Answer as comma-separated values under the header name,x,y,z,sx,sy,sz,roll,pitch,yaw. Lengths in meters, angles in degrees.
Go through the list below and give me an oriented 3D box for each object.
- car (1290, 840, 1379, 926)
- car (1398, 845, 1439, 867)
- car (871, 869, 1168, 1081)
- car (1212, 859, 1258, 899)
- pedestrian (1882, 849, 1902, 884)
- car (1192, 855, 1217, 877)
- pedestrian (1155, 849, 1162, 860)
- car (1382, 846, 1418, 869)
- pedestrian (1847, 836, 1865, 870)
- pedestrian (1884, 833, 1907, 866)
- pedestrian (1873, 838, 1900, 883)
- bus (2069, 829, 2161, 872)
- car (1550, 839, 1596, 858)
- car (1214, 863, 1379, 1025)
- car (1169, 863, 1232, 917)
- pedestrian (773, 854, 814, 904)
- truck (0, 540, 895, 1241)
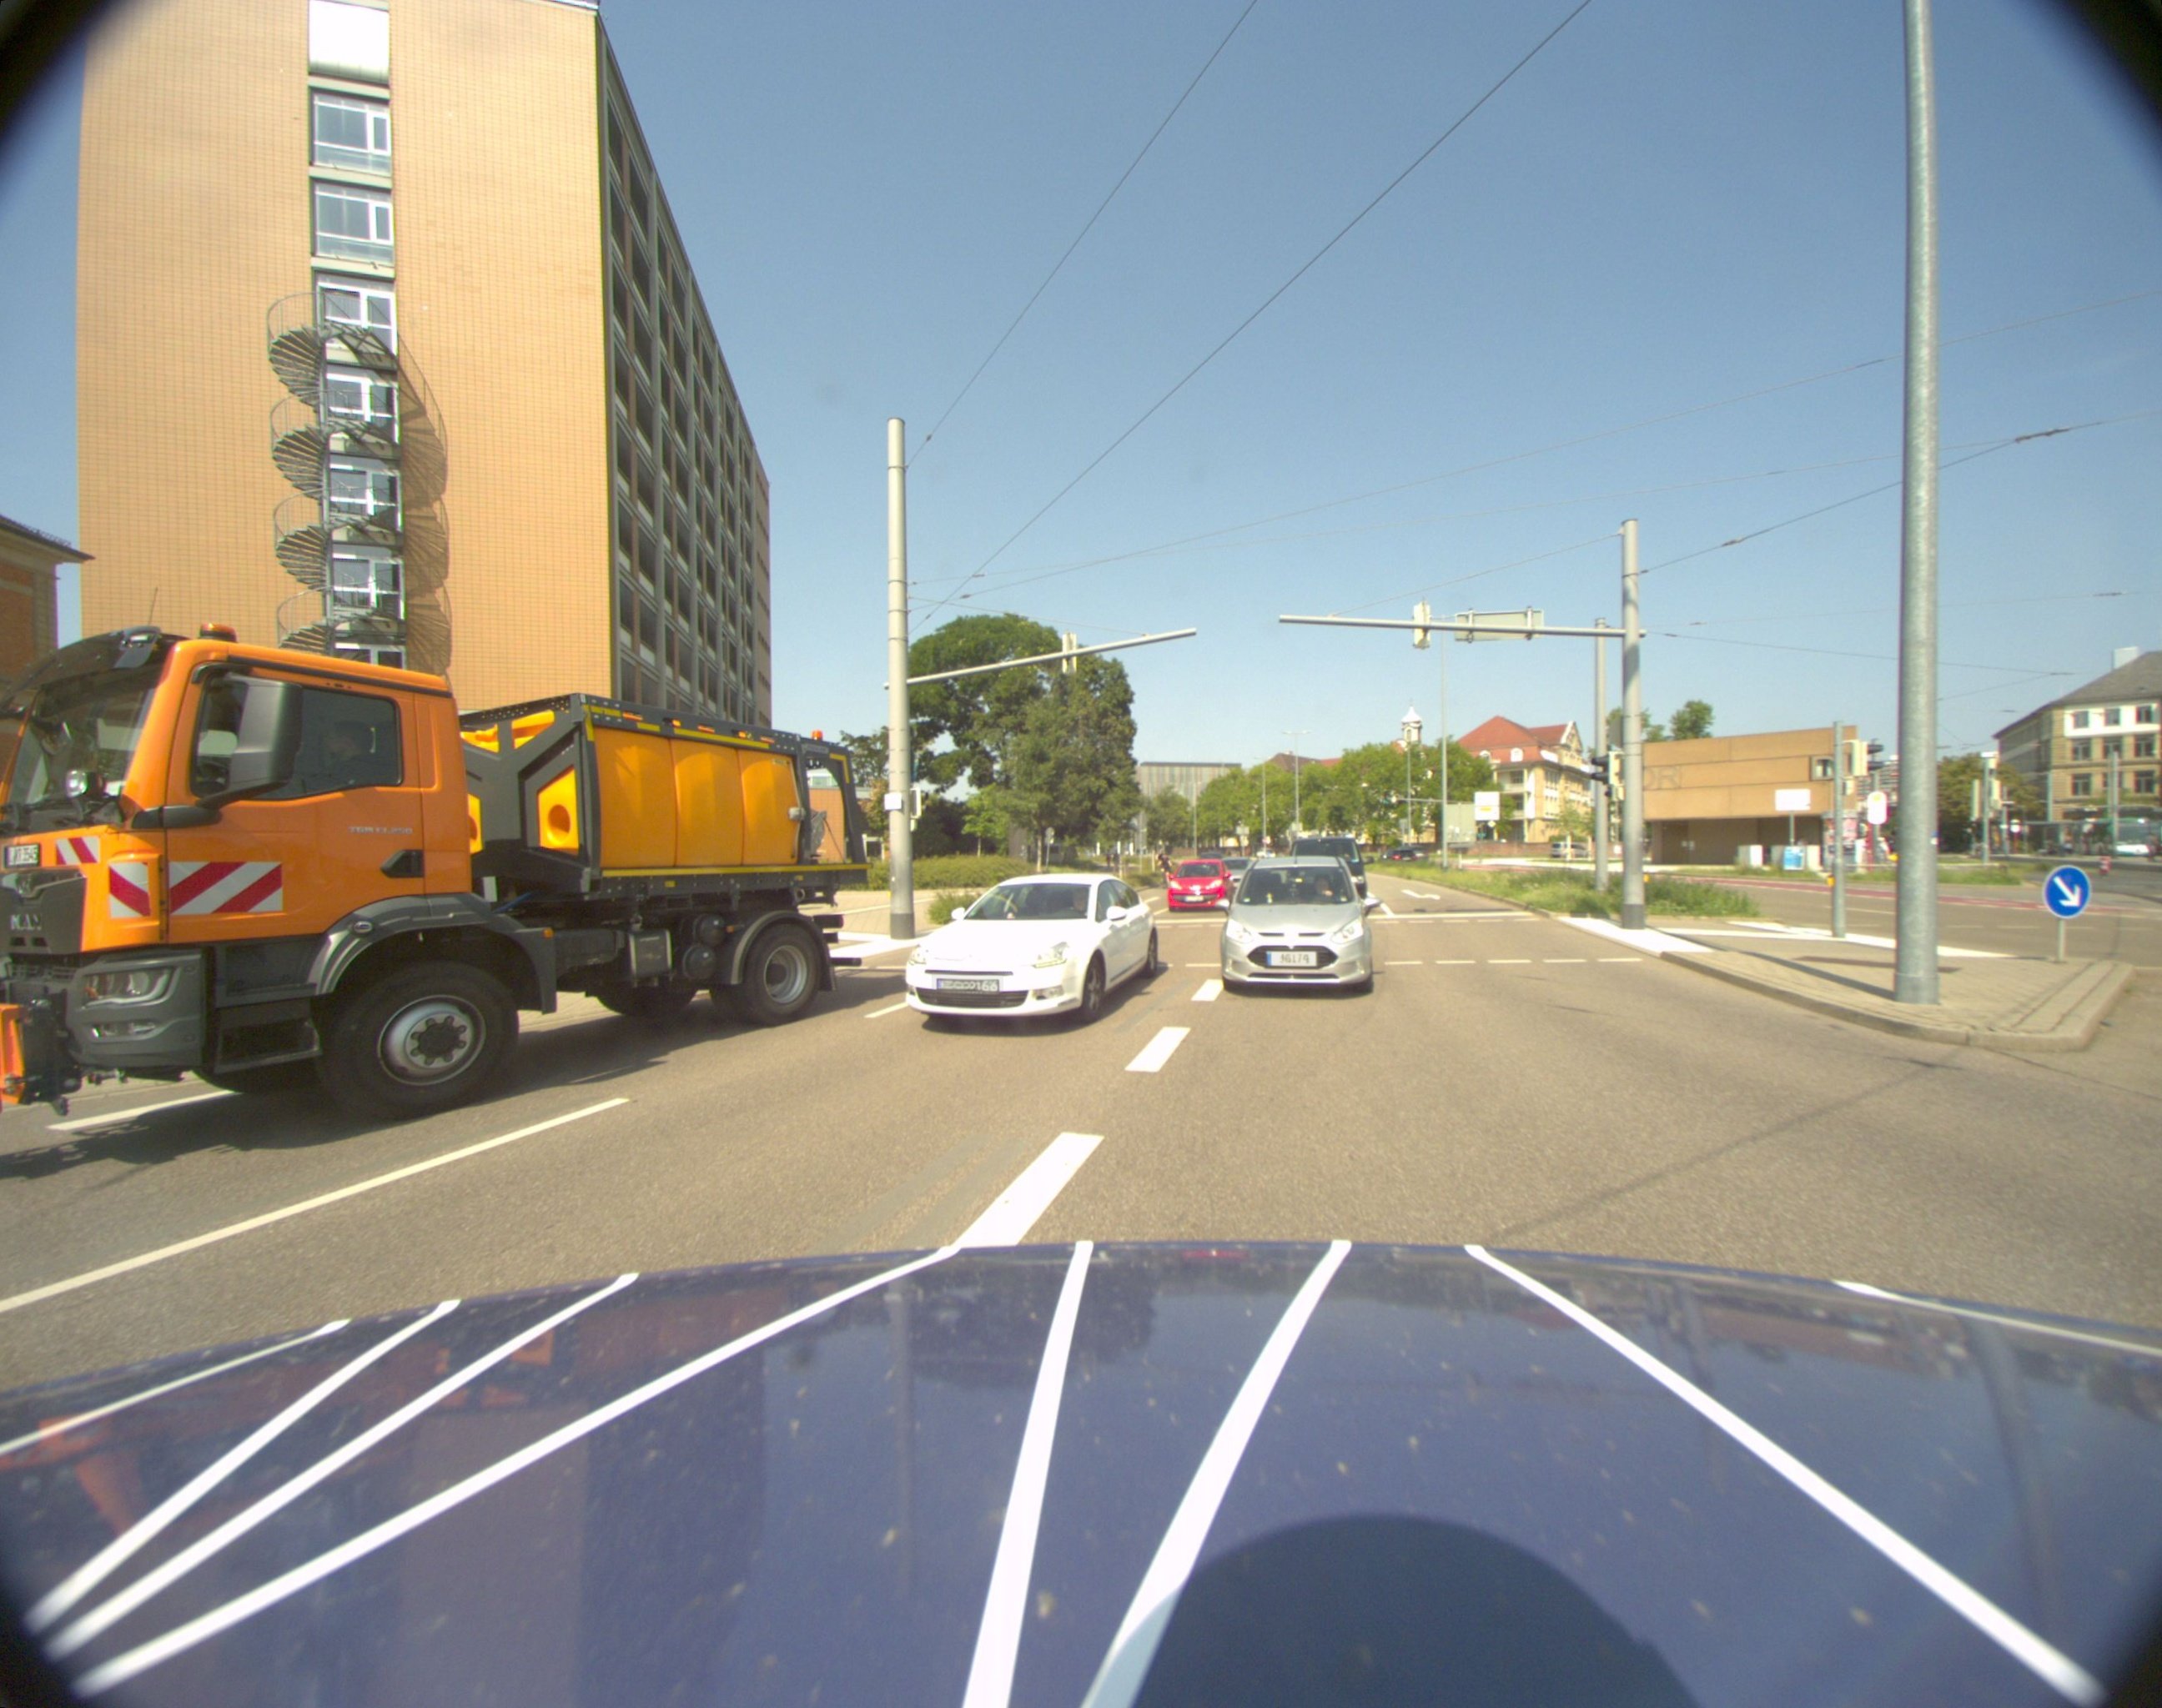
name,x,y,z,sx,sy,sz,roll,pitch,yaw
car,6.452,0.627,19.497,1.897,1.919,4.891,-1,0,18
car,26.401,0.150,59.617,1.900,1.643,4.660,-1,0,10
car,-0.333,1.097,8.826,1.768,1.609,4.608,-2,0,17
car,6.074,0.945,29.681,1.515,1.331,3.511,-2,0,14
pedestrian,32.360,0.489,30.320,0.461,1.367,0.350,-1,1,19
car,8.389,0.791,51.780,1.615,1.414,3.609,-1,0,9
pedestrian,13.008,0.098,127.489,0.967,1.775,1.118,-1,1,9
car,22.345,0.213,53.302,1.677,1.511,3.709,-1,0,12
pedestrian,38.638,-0.030,37.890,0.588,1.666,0.577,-3,1,-44
pedestrian,41.183,-0.222,38.414,0.571,1.636,0.512,-3,1,2
pedestrian,32.651,0.250,30.793,0.559,1.805,0.561,-1,1,19
bus,83.369,-0.366,61.331,2.535,3.014,12.459,-2,1,44
car,53.882,-0.573,83.289,4.001,1.958,1.998,-1,1,-13
car,3.037,0.967,10.212,1.689,1.585,4.367,-1,0,20
car,3.577,1.003,22.409,1.515,1.400,3.362,-1,0,14
pedestrian,-8.167,0.691,21.623,0.786,1.387,0.848,-1,1,2
truck,-5.201,0.188,6.576,3.035,3.210,7.203,-2,0,25
